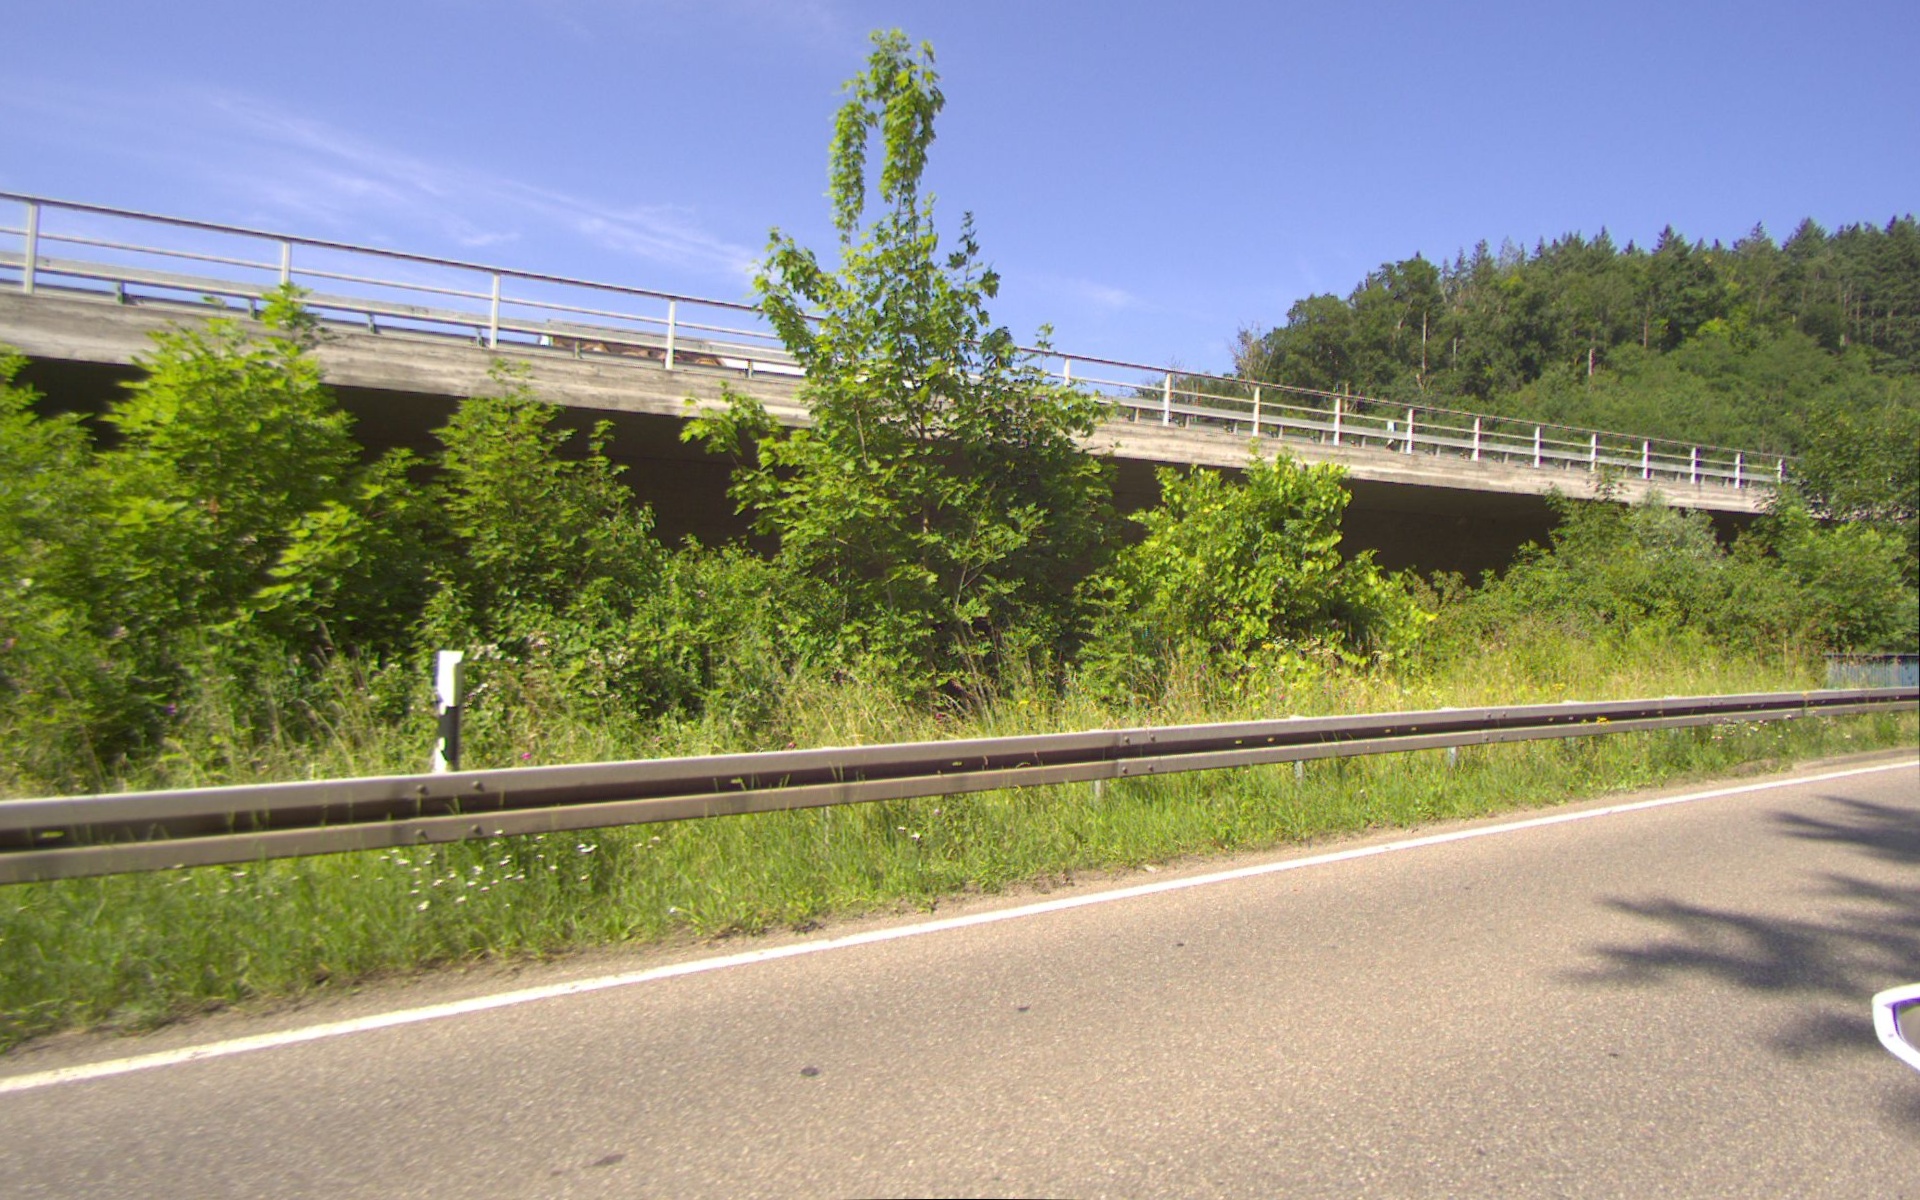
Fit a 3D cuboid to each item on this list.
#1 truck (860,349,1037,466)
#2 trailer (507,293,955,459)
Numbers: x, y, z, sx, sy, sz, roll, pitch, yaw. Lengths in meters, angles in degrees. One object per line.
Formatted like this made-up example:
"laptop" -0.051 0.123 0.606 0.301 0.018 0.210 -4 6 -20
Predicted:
"truck" -0.356 -6.206 33.147 5.401 2.917 2.384 1 1 -30
"trailer" -6.290 -6.264 29.667 12.787 2.917 2.383 1 1 -30
